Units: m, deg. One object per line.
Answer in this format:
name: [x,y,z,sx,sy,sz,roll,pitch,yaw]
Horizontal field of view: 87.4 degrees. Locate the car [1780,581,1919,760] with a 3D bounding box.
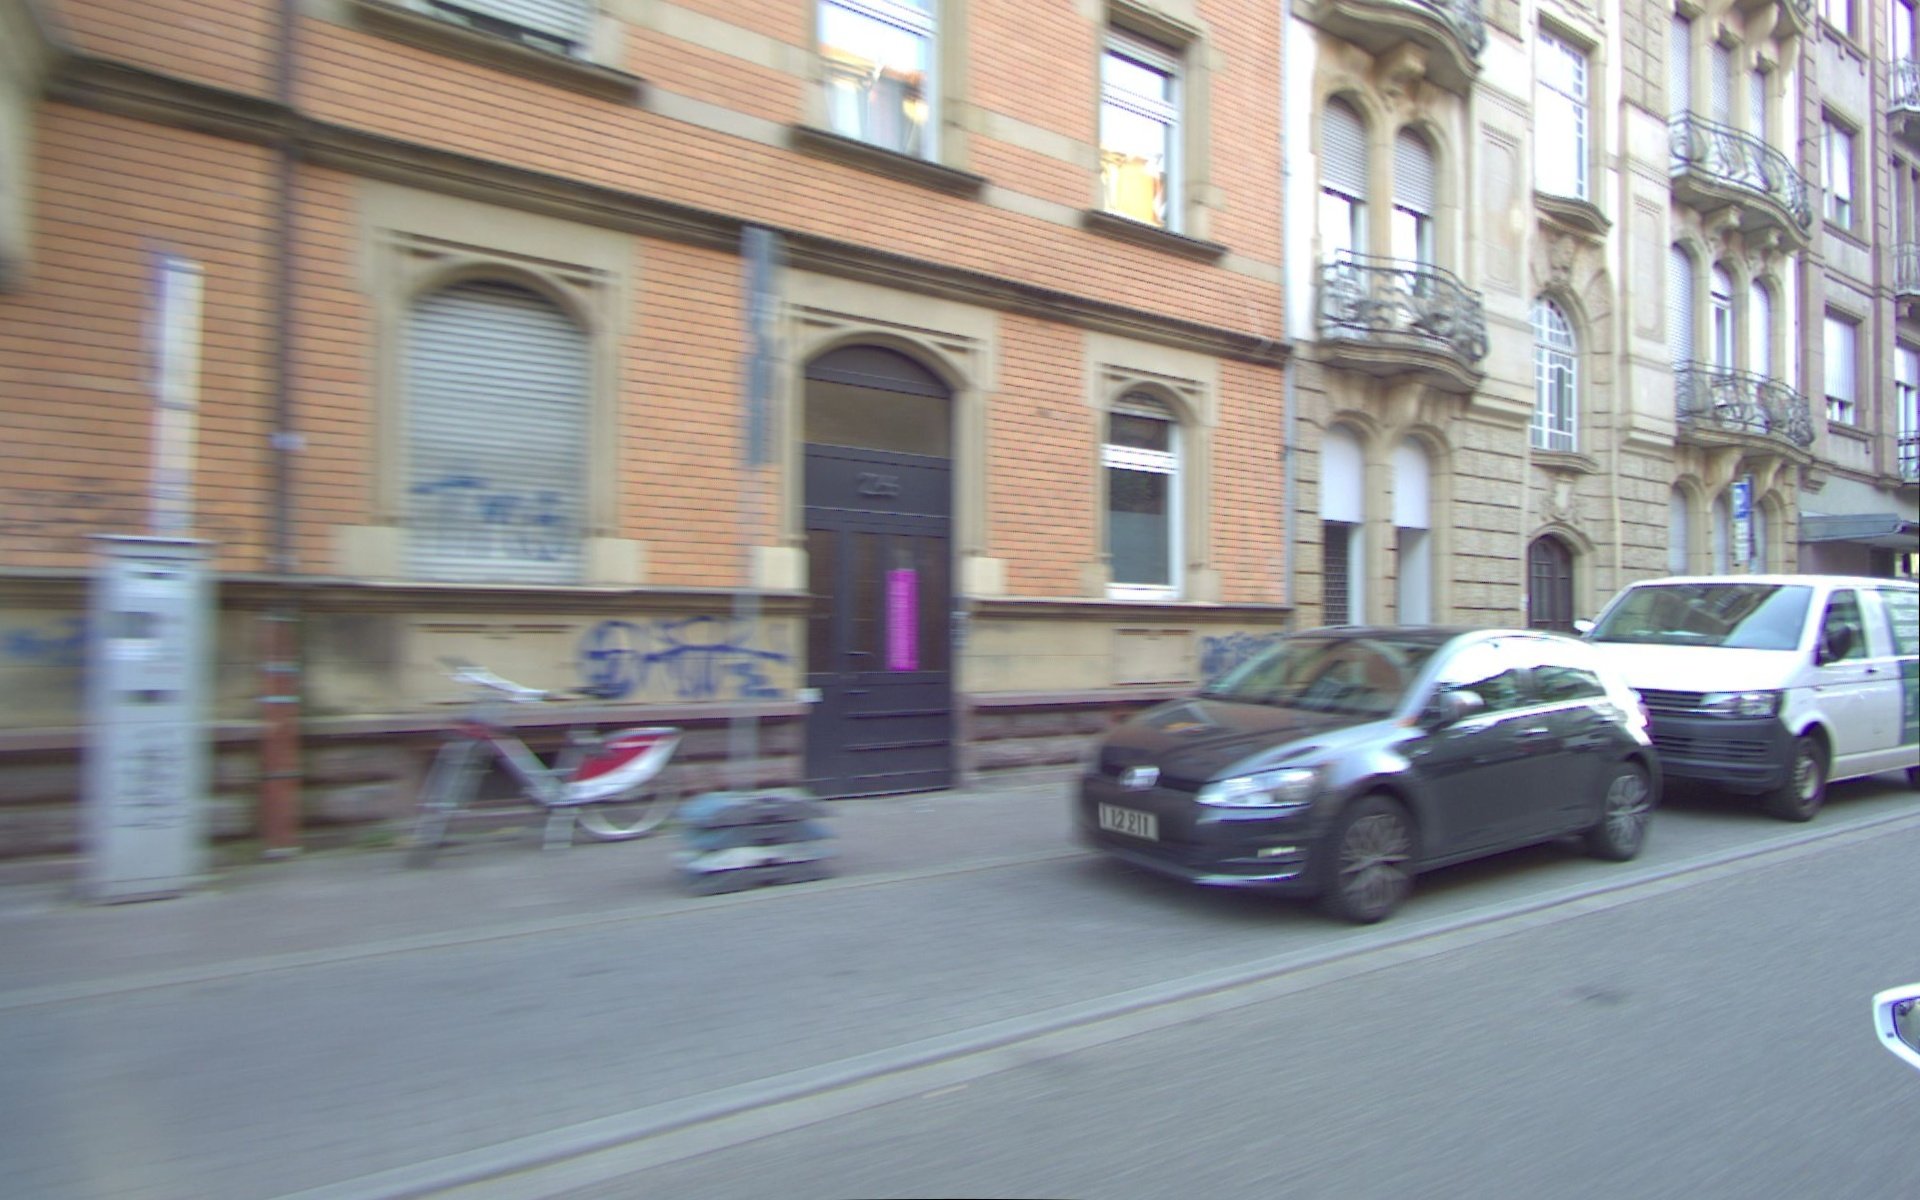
car: [12.461,0.830,12.495,4.971,1.946,2.097,2,-2,-33]

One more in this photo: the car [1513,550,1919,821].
car: [7.367,0.686,9.259,4.789,1.946,1.828,1,-2,-31]

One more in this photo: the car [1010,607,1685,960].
car: [2.507,0.838,6.167,4.128,1.490,1.826,2,-2,-33]

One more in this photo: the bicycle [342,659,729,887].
bicycle: [-2.490,0.937,6.048,2.007,1.116,0.744,2,-1,-38]
